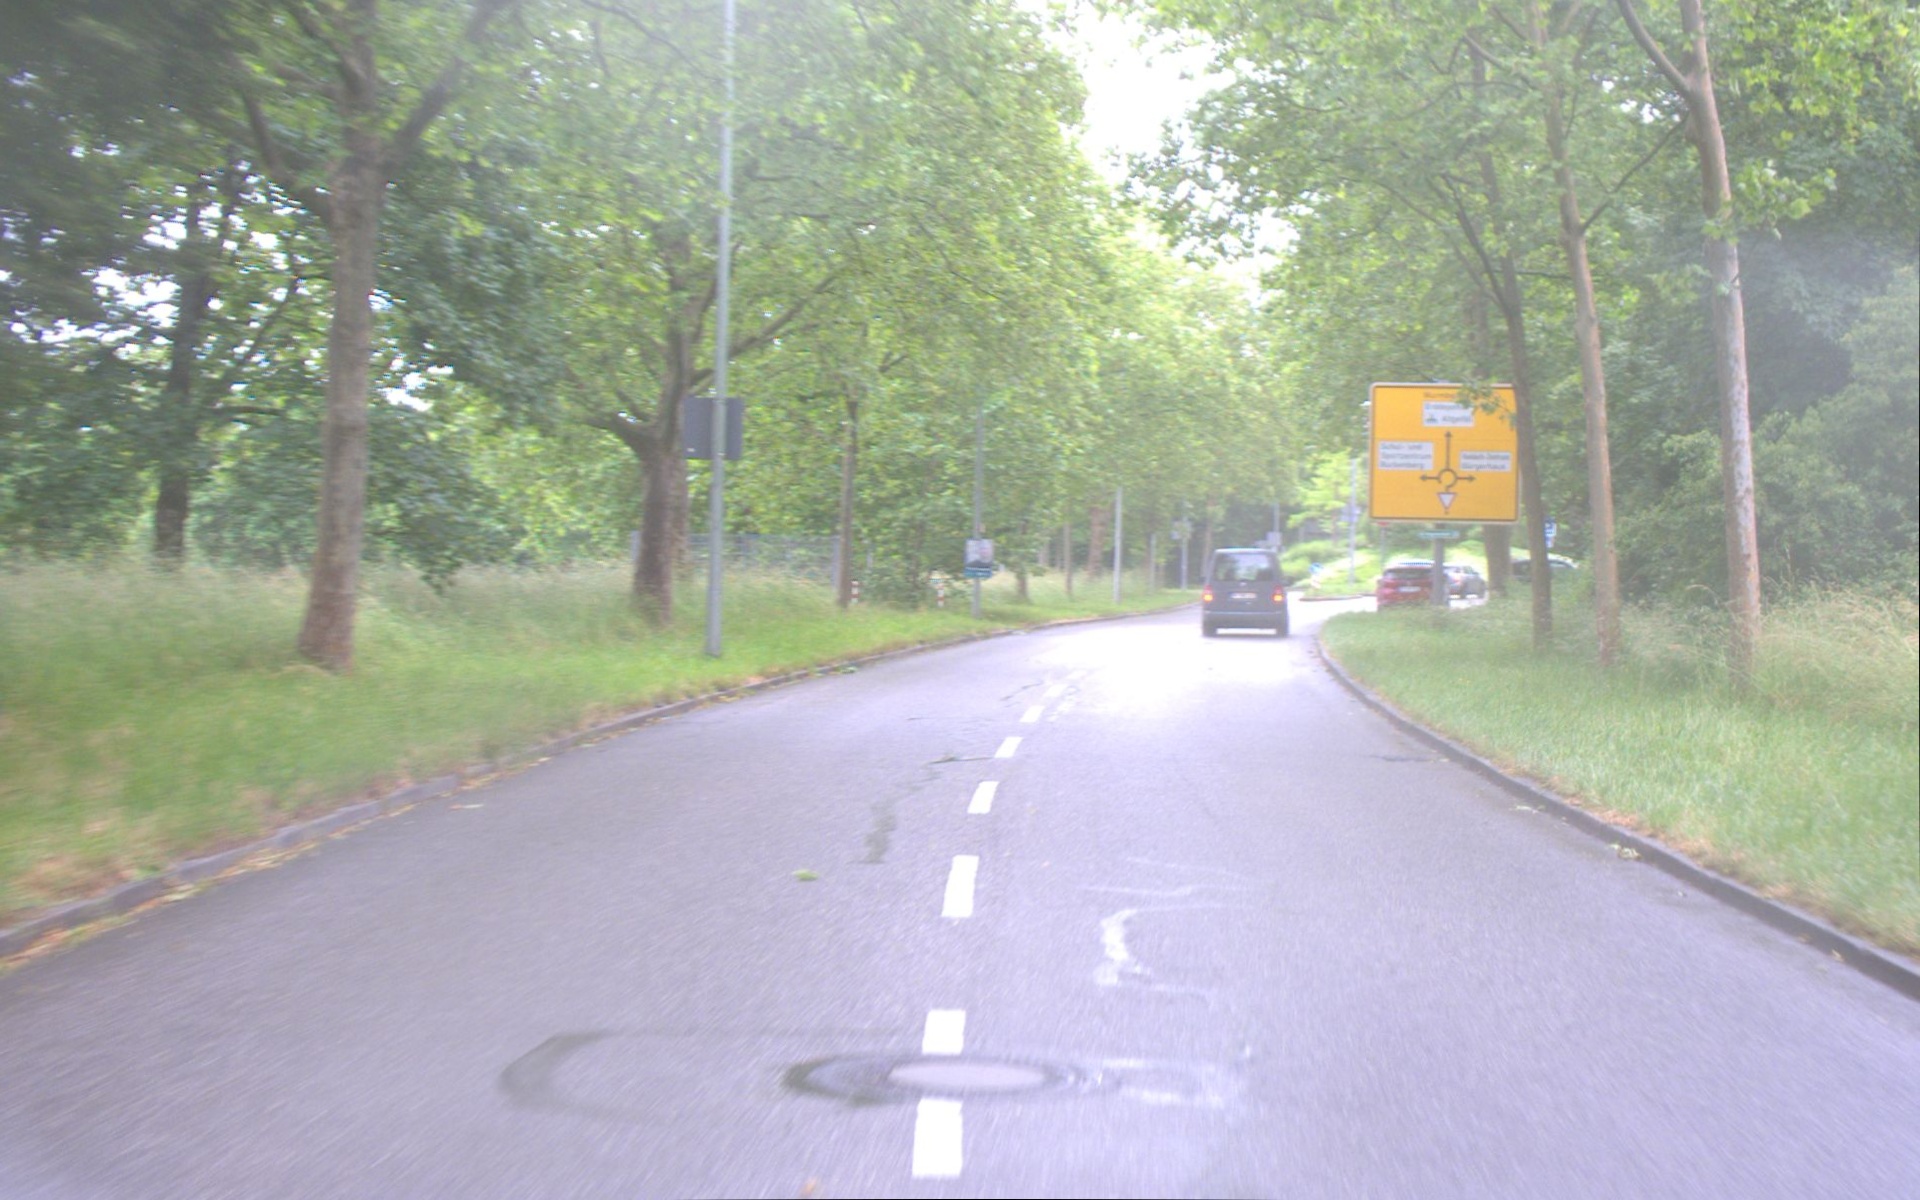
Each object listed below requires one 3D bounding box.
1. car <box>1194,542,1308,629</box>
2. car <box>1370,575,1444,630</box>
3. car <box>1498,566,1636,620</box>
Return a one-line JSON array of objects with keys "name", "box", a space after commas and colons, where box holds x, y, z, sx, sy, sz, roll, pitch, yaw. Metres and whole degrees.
[{"name": "car", "box": [6.170, -0.326, 72.560, 1.919, 1.795, 3.788, 0, 1, 12]}, {"name": "car", "box": [11.565, 0.060, 88.897, 1.798, 1.367, 3.742, 0, 0, 9]}, {"name": "car", "box": [20.231, -0.250, 114.586, 4.472, 1.674, 1.767, 1, 1, 11]}]
